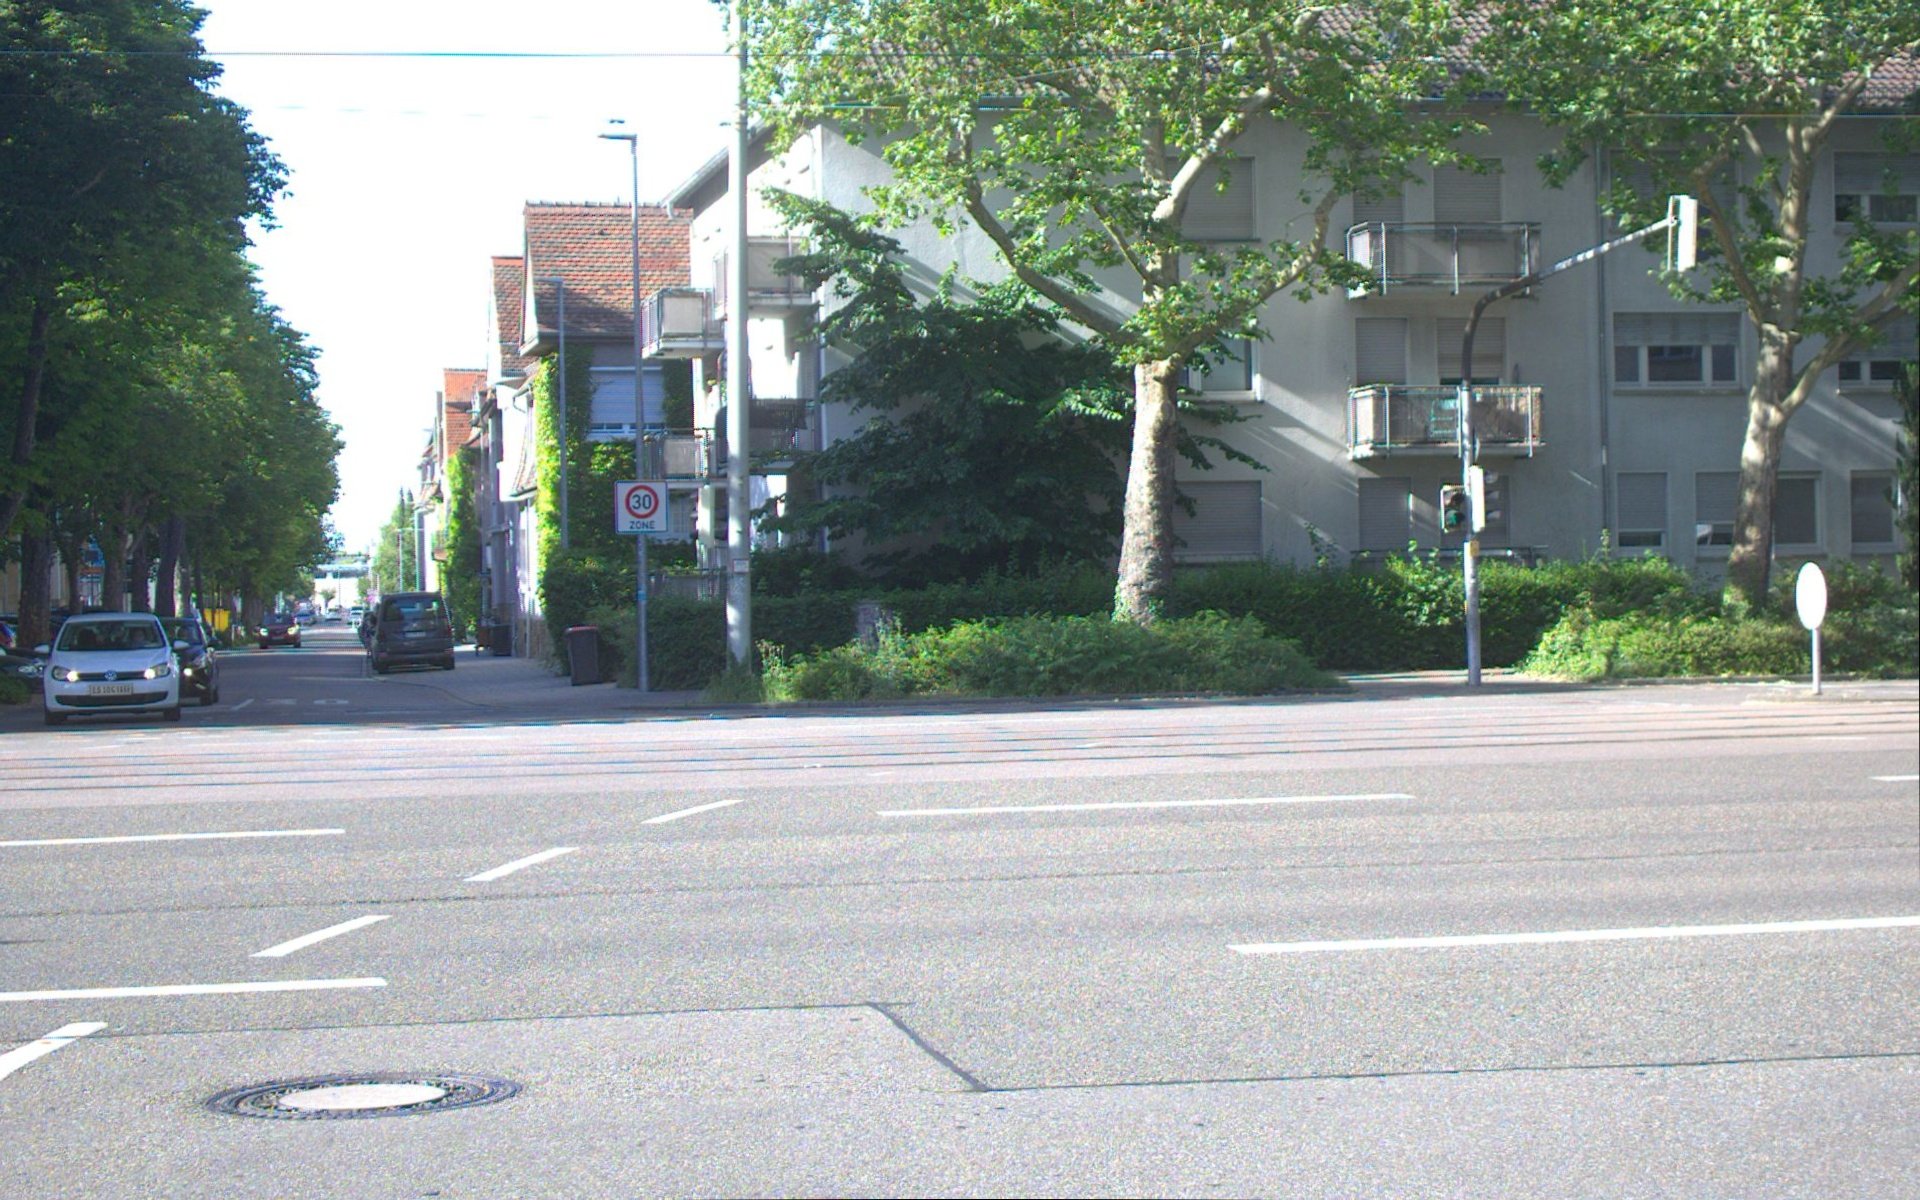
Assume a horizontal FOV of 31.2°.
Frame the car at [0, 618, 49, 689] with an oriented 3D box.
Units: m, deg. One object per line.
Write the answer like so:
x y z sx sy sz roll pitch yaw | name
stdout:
-19.768 1.040 66.108 4.211 1.344 1.703 0 -1 -10 | car

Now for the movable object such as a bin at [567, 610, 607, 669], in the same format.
-6.901 0.724 63.582 0.597 1.041 0.707 -5 1 -12 | movable object such as a bin

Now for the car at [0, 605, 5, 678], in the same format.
-20.829 0.839 68.162 3.433 1.447 1.703 0 -1 -8 | car

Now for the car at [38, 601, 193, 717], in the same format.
-11.370 0.794 46.464 1.806 1.453 4.001 -1 -1 -11 | car

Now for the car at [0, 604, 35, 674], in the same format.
-22.454 0.902 75.356 3.986 1.503 1.723 -2 0 -9 | car

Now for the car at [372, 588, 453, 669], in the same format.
-13.757 0.696 86.231 1.864 1.909 4.783 3 0 -10 | car

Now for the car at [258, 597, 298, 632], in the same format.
-30.060 0.629 151.663 1.640 1.503 3.703 -2 0 -11 | car

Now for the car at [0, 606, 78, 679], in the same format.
-20.297 0.876 70.778 3.986 1.477 1.786 0 0 -9 | car

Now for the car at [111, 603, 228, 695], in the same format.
-13.247 0.802 57.750 1.660 1.459 3.809 -1 0 -9 | car
